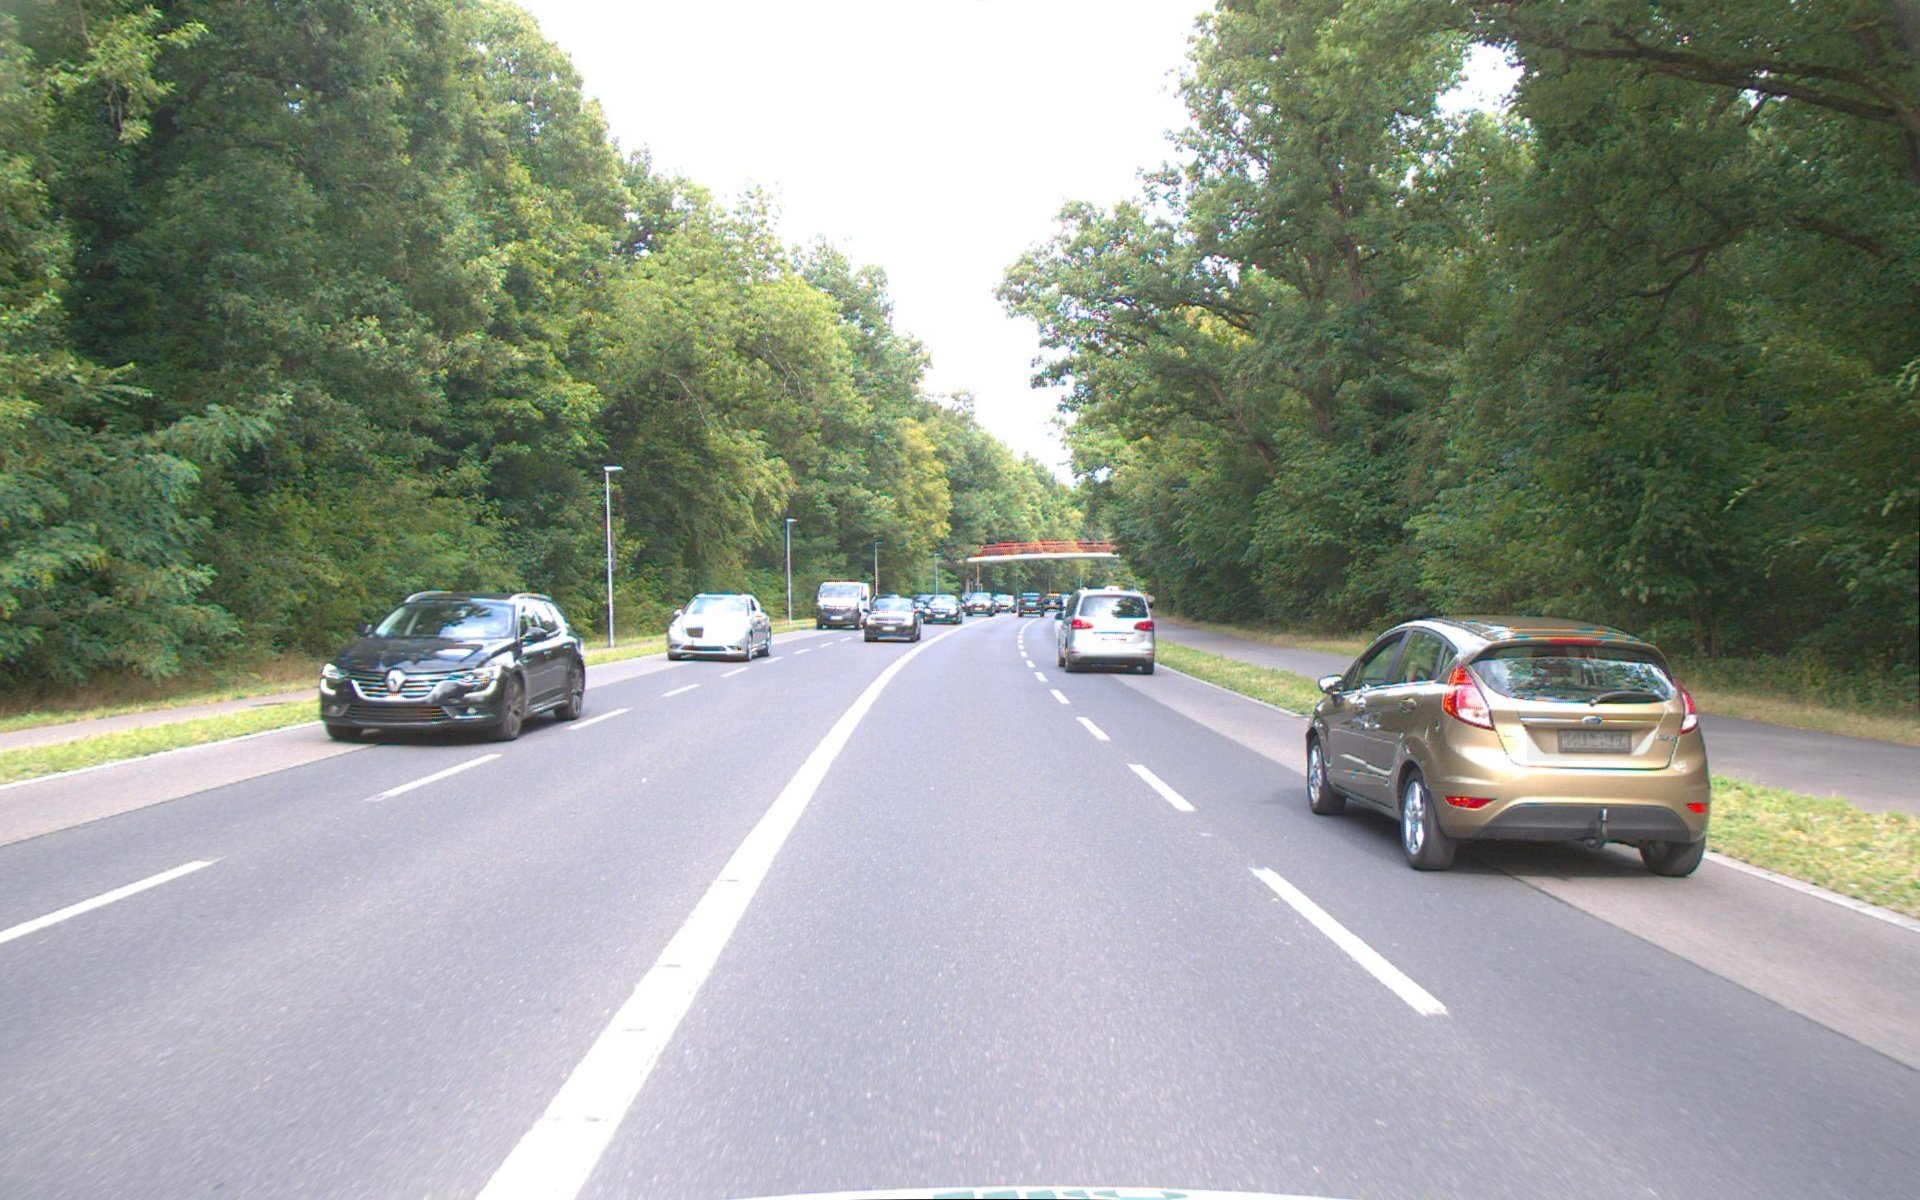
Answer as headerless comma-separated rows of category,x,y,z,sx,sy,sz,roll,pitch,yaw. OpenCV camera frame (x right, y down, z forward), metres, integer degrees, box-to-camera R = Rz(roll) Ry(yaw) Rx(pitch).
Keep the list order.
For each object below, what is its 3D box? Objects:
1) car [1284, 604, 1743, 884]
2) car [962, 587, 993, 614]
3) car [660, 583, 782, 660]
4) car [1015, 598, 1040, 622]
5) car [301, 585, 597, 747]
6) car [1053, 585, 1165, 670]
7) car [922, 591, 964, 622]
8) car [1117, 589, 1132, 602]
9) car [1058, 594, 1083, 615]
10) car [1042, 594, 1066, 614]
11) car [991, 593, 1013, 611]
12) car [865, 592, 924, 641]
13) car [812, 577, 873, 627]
car,3.362,0.798,10.866,1.602,1.445,3.999,2,-1,-1
car,1.239,0.060,117.147,1.922,1.736,4.002,-3,-1,4
car,-5.418,0.503,38.147,1.952,1.590,4.604,2,-1,2
car,4.798,0.716,117.062,1.693,1.615,4.001,2,-1,3
car,-5.307,0.650,17.823,1.843,1.468,4.402,2,-1,-1
car,3.071,0.576,34.881,1.953,1.635,4.000,2,-1,0
car,-0.845,0.373,85.301,1.846,1.504,4.520,2,-1,3
car,23.038,-0.622,231.237,1.951,1.736,4.003,-1,0,7
car,9.734,0.400,145.472,1.951,1.780,4.003,2,-1,7
car,8.936,0.376,157.248,1.951,1.727,4.003,2,-1,7
car,3.550,0.187,140.193,1.662,1.410,3.828,-3,-1,4
car,-2.111,0.560,54.471,1.622,1.512,3.867,2,-1,2
car,-4.956,0.109,70.461,1.952,2.049,5.055,0,-1,3
